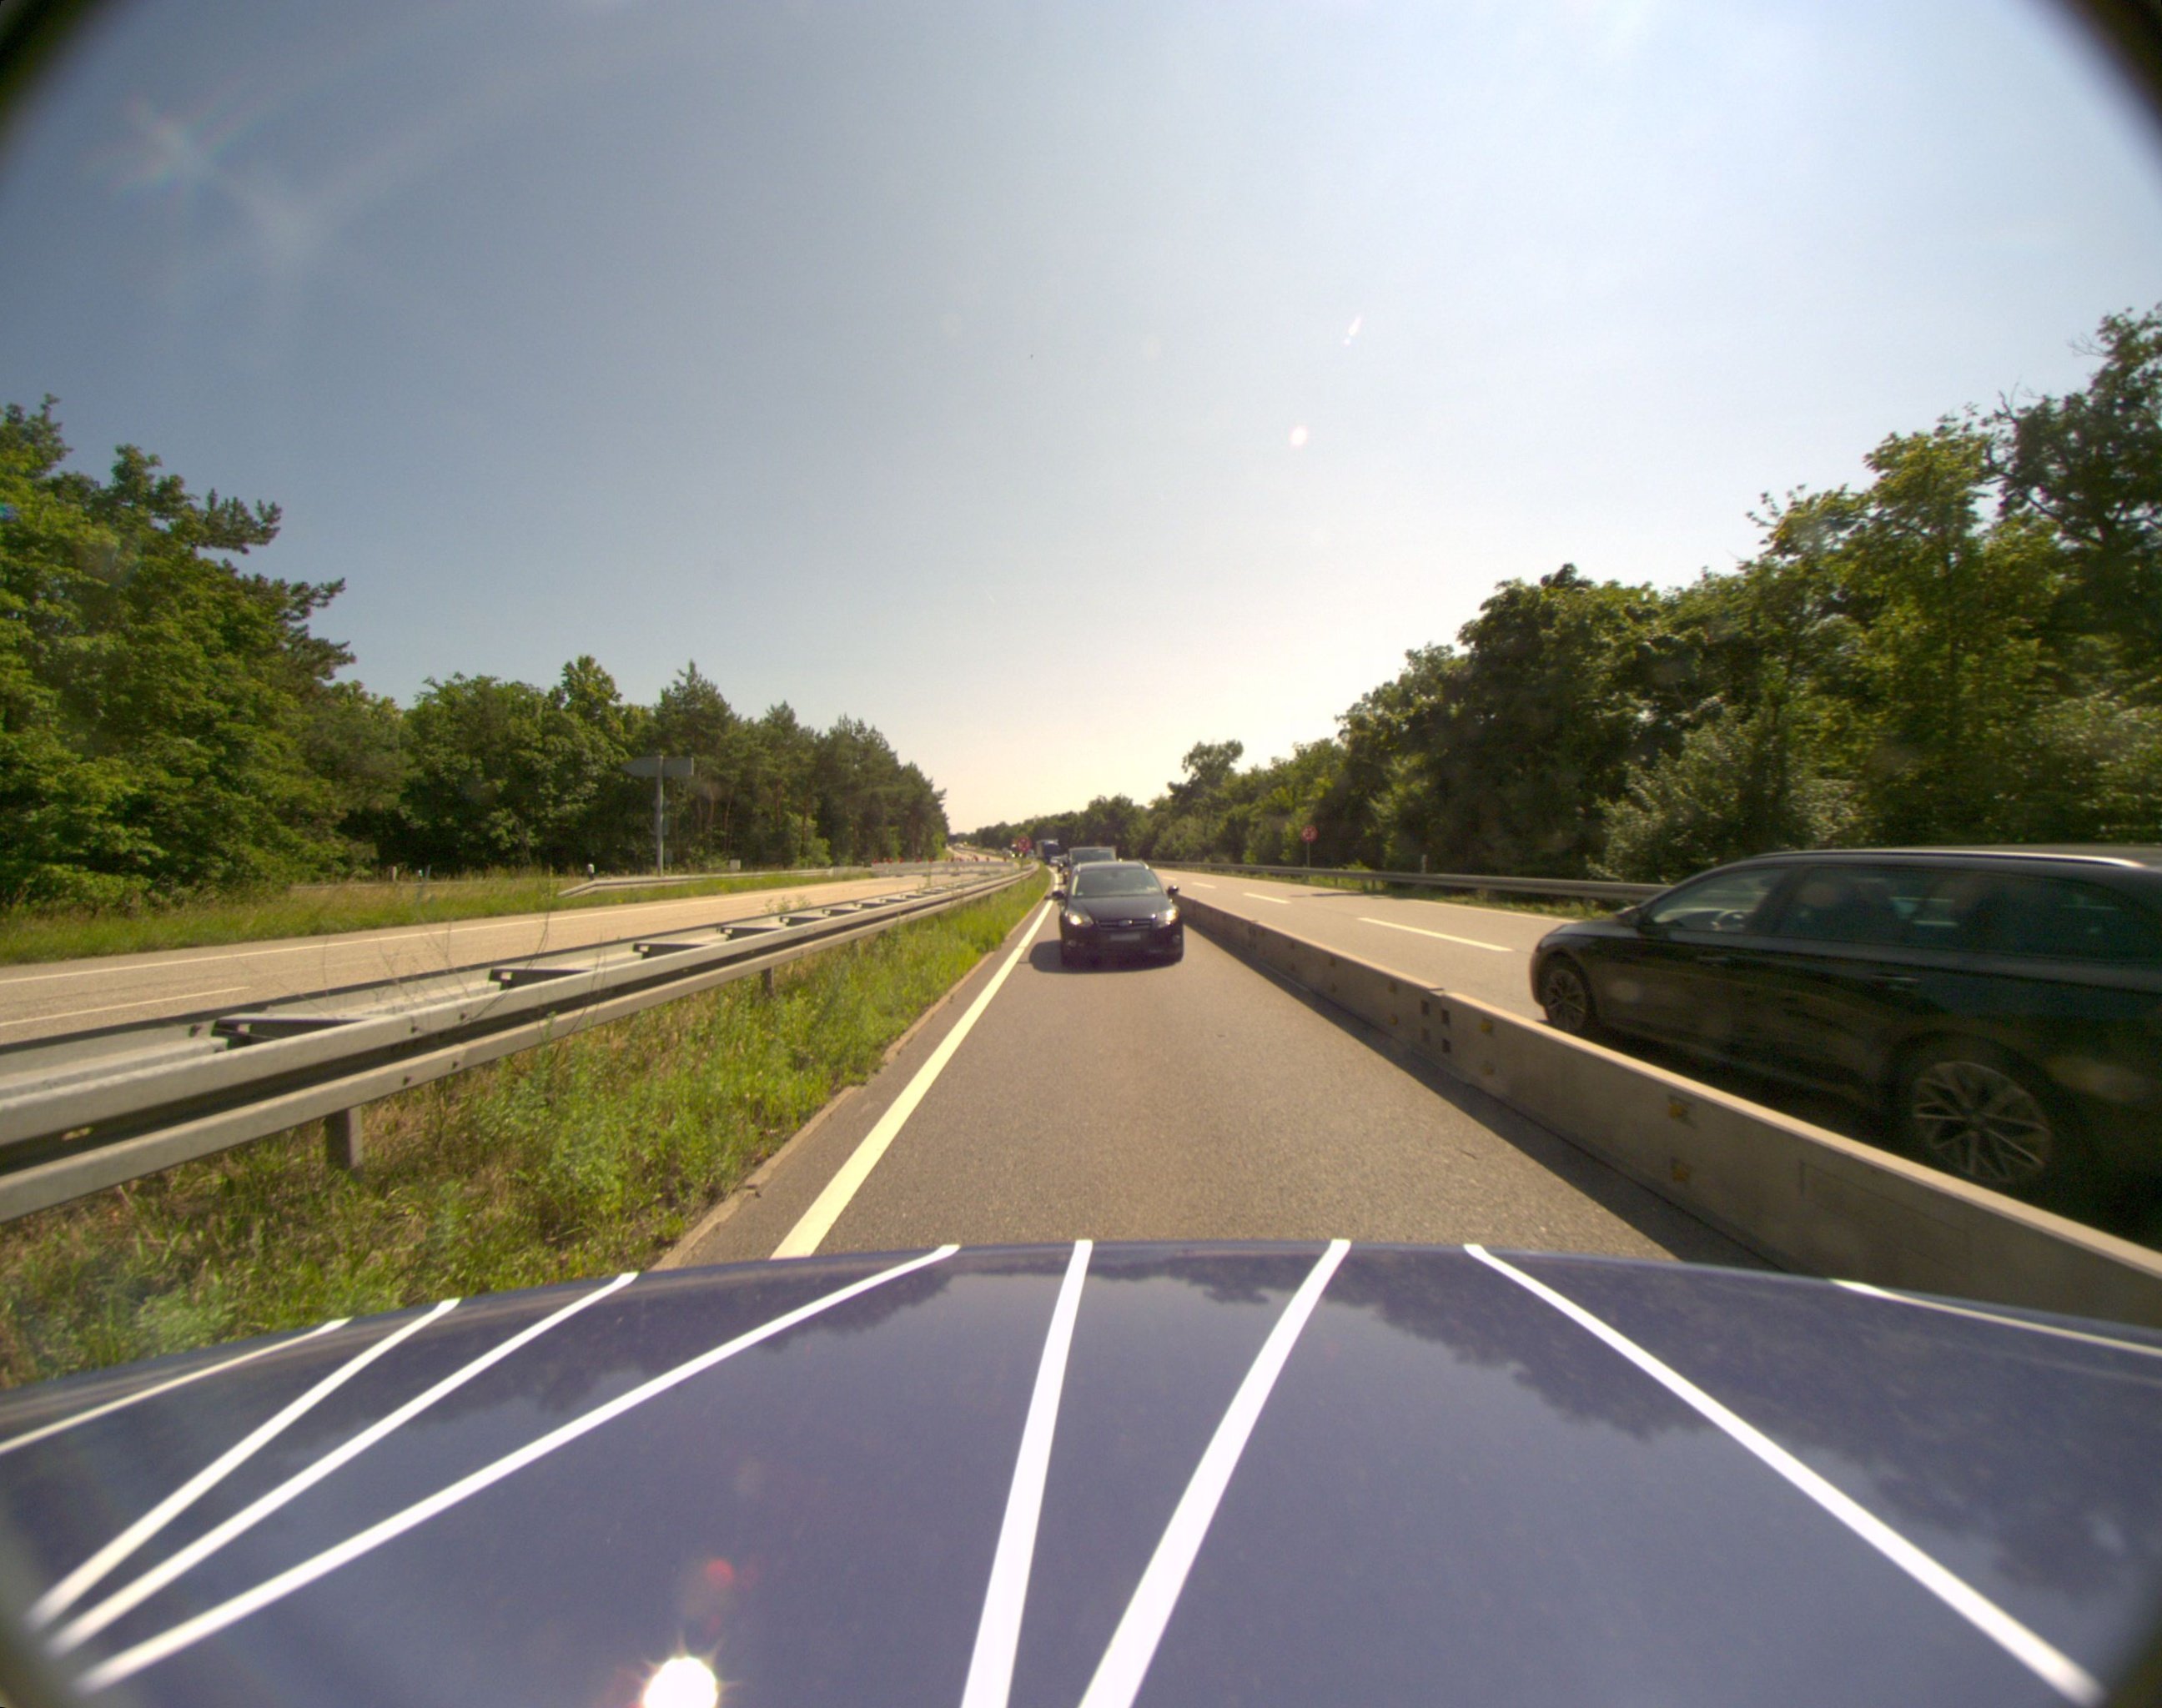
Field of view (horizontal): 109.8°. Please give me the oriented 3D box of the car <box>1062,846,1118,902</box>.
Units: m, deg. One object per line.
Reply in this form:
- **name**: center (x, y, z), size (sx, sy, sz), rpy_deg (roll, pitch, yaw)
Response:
- **car**: center (0.344, 0.715, 30.194), size (1.959, 1.902, 4.934), rpy_deg (-2, 1, 0)

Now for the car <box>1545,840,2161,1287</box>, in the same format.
- **car**: center (4.565, 0.694, 3.886), size (1.826, 1.473, 4.257), rpy_deg (-2, 0, 1)

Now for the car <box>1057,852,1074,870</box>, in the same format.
- **car**: center (-1.567, 0.647, 75.225), size (1.527, 1.647, 3.979), rpy_deg (-2, 0, -2)

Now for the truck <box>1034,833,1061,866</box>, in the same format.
- **truck**: center (-5.684, -0.733, 127.326), size (3.831, 5.266, 11.240), rpy_deg (-1, 0, -5)

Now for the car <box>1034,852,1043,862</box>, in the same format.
- **car**: center (-8.415, 0.558, 149.628), size (1.527, 1.648, 3.976), rpy_deg (-6, 3, -5)

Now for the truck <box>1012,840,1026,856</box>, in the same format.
- **truck**: center (-17.715, -1.730, 217.835), size (3.831, 4.265, 11.240), rpy_deg (-1, 0, -5)

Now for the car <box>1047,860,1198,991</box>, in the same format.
- **car**: center (0.563, 0.922, 12.024), size (1.846, 1.536, 4.935), rpy_deg (-2, 0, 1)

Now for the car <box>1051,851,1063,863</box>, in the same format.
- **car**: center (-3.401, 0.449, 108.194), size (1.528, 1.647, 3.752), rpy_deg (0, 0, -5)
